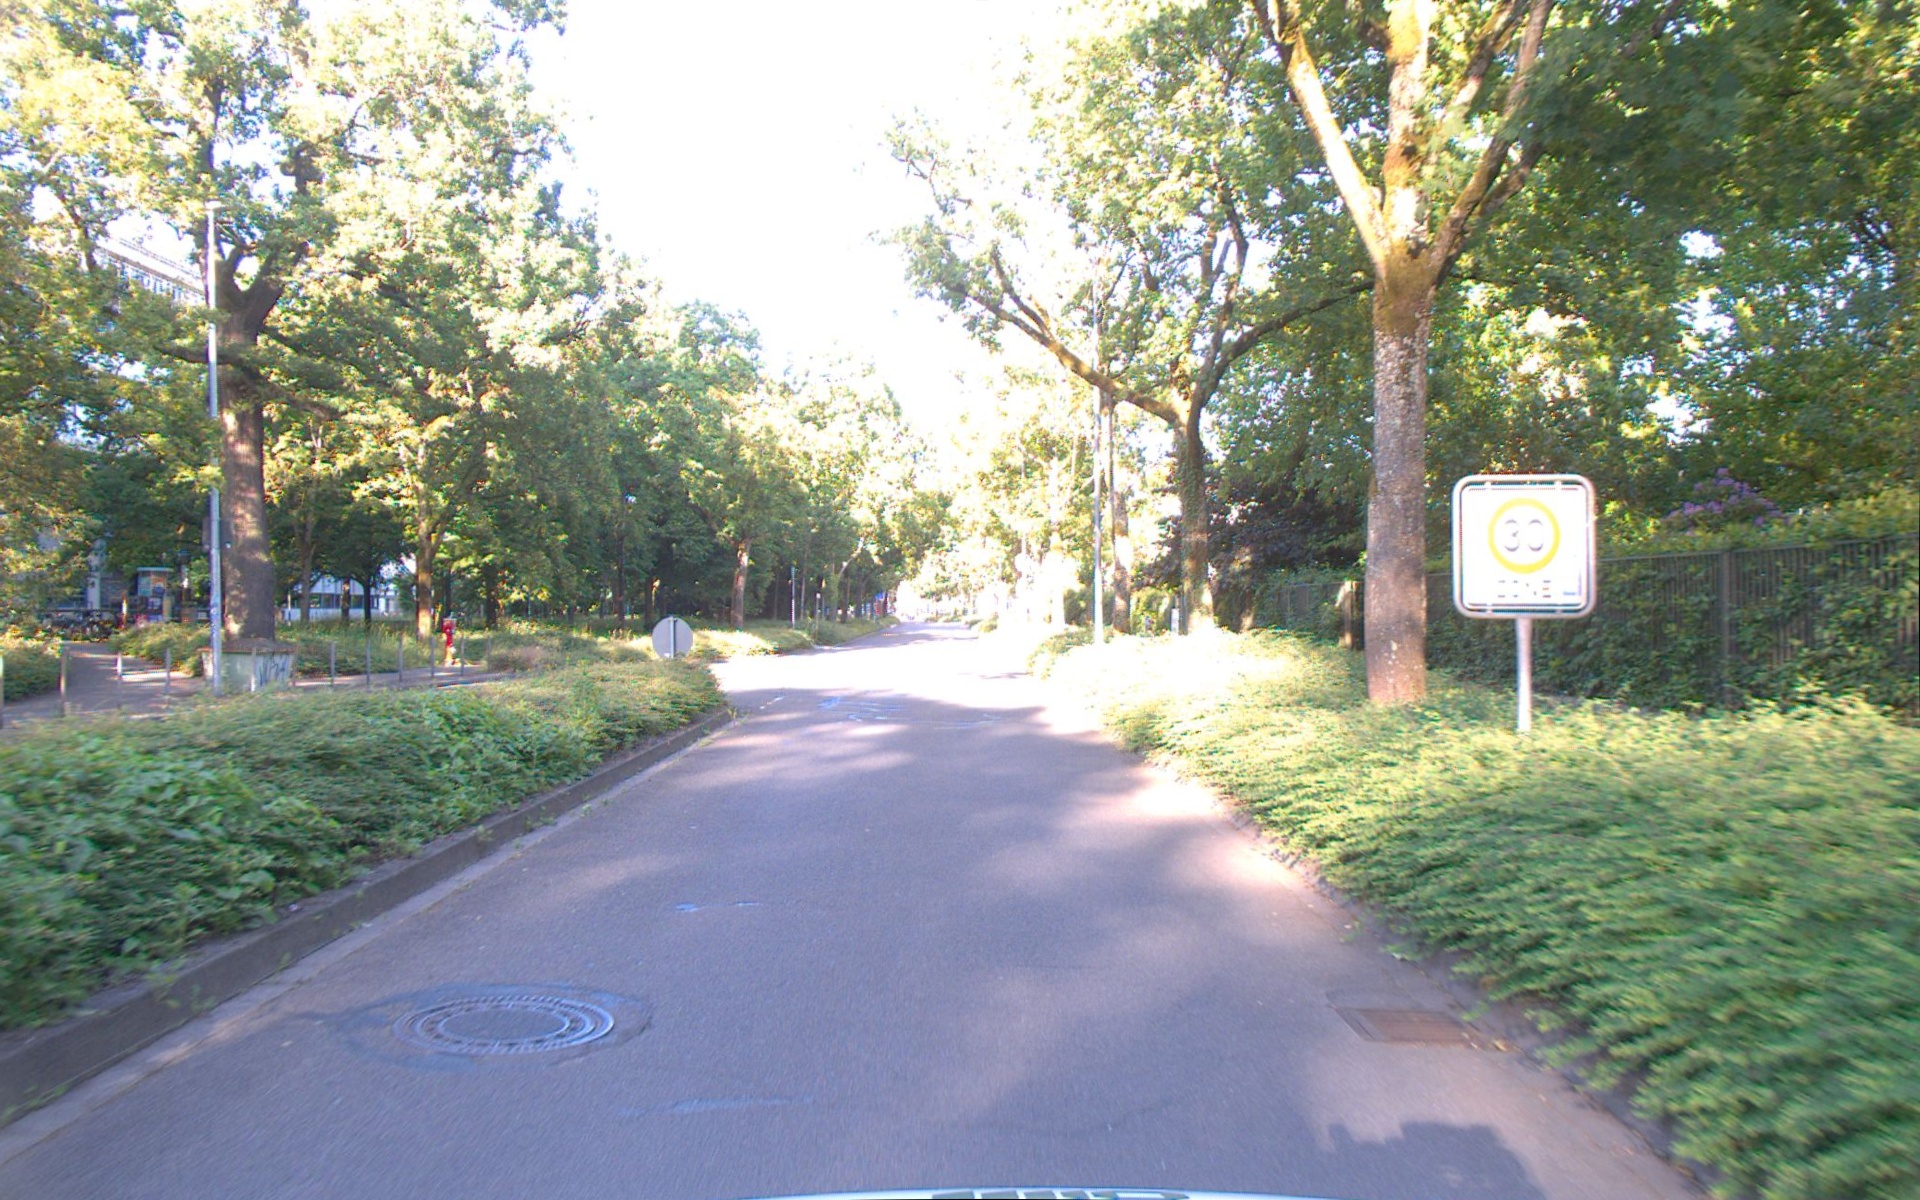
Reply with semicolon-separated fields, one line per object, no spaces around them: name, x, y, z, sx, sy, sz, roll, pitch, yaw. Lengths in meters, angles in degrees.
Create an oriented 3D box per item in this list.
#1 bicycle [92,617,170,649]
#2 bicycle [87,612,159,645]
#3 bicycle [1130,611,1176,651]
bicycle;-28.698;1.133;57.277;0.527;1.090;2.418;3;1;38
bicycle;-29.551;0.985;58.442;0.524;1.090;2.636;4;1;17
bicycle;6.511;1.036;55.740;0.866;1.221;2.325;-3;0;24
